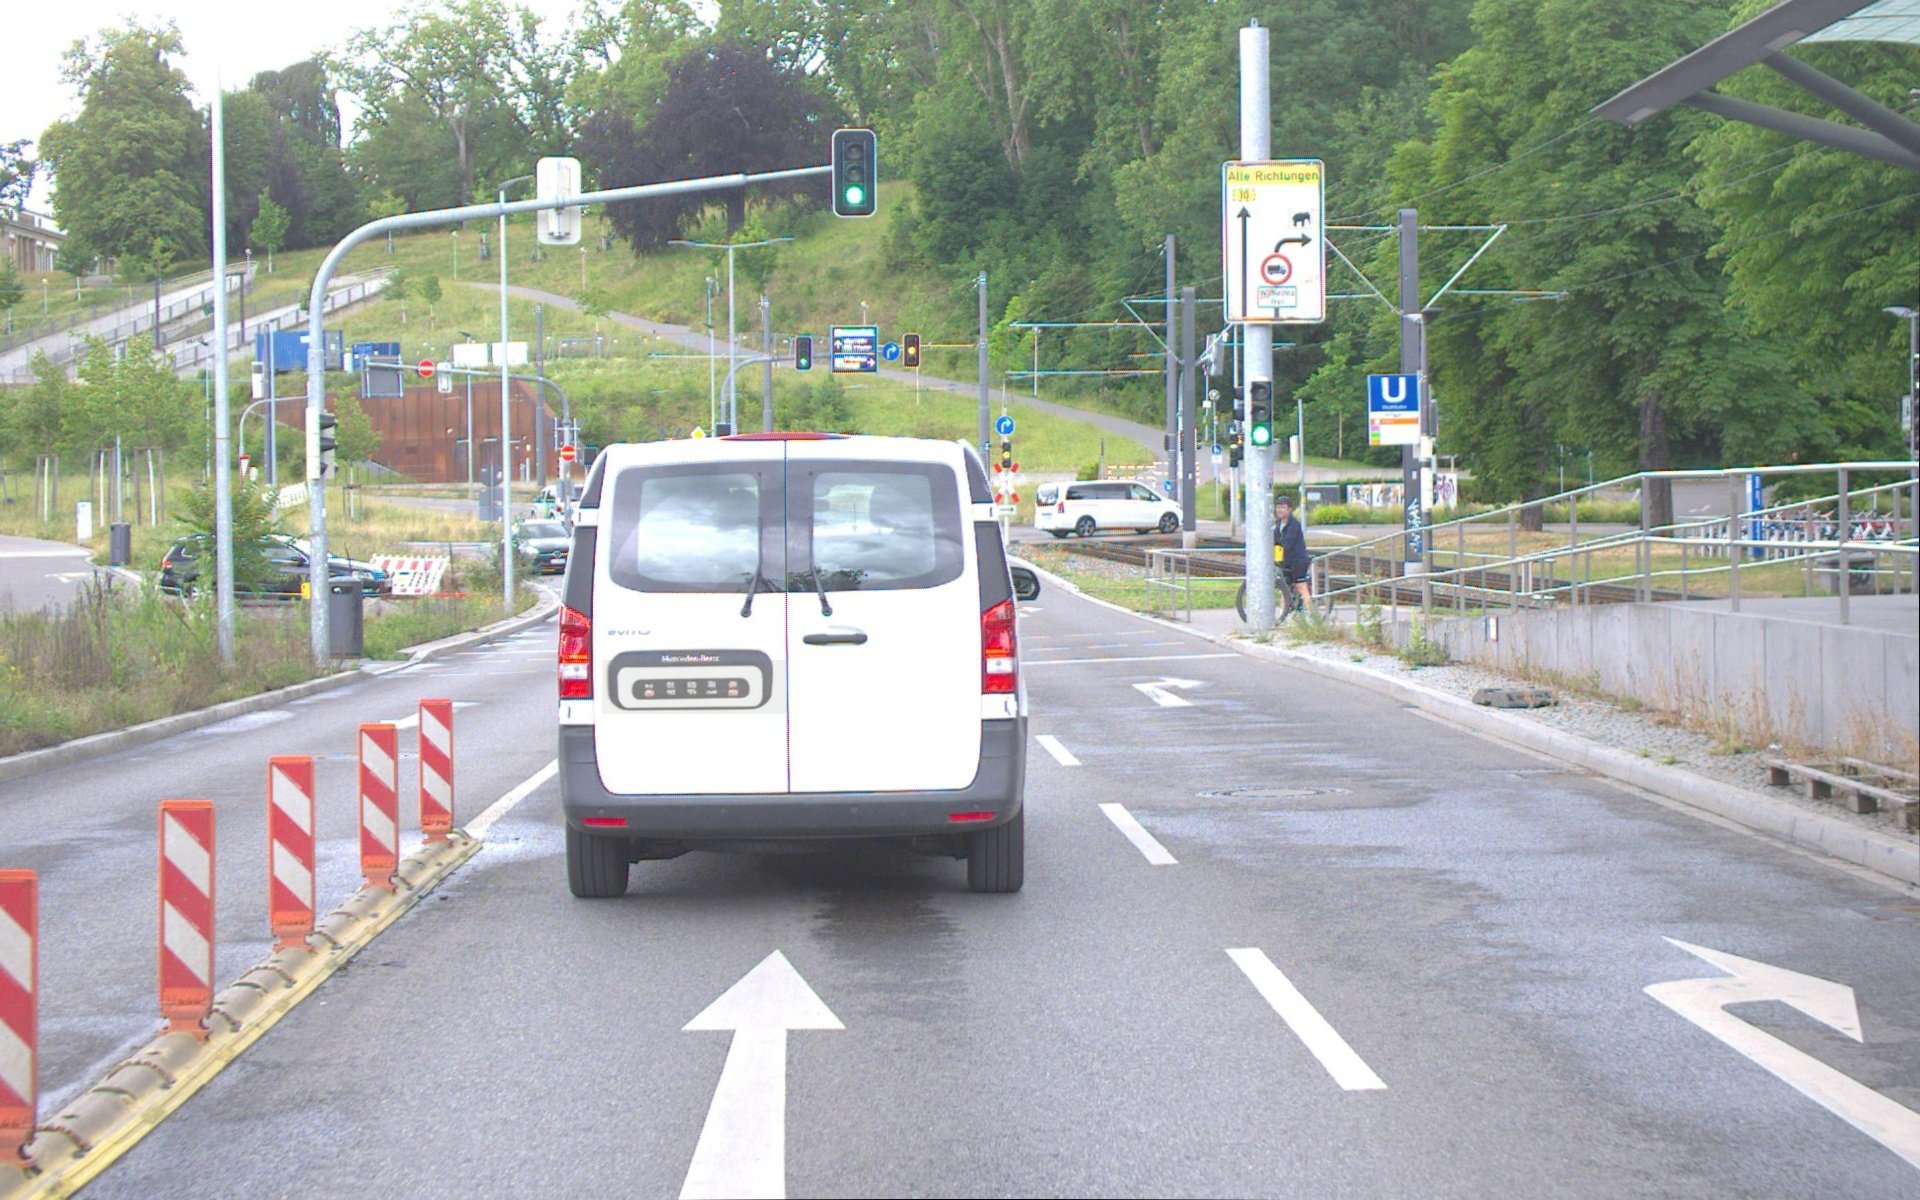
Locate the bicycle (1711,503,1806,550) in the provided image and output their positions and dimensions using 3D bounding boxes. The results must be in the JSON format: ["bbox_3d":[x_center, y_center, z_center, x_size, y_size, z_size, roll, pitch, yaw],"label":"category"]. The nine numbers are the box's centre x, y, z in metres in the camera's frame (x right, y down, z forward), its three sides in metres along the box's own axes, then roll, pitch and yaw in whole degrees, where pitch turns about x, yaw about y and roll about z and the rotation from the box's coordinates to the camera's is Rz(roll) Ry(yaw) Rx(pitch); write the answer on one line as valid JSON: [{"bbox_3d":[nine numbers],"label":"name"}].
[{"bbox_3d":[17.190,-1.581,74.027,1.912,0.972,0.531,-1,2,-1],"label":"bicycle"}]

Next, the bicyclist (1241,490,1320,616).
[{"bbox_3d":[4.080,-0.607,43.818,0.804,1.566,0.618,-3,4,-41],"label":"bicyclist"}]

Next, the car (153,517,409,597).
[{"bbox_3d":[-13.879,-0.883,70.416,4.711,1.472,2.000,-1,3,9],"label":"car"}]

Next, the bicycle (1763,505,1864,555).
[{"bbox_3d":[17.423,-1.424,70.199,1.912,0.972,0.531,-1,2,-1],"label":"bicycle"}]

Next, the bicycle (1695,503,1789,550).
[{"bbox_3d":[16.998,-1.590,74.750,1.912,0.972,0.531,-1,2,-1],"label":"bicycle"}]

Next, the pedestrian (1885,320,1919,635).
[{"bbox_3d":[5.106,-0.603,17.074,0.750,1.548,0.775,2,3,0],"label":"pedestrian"}]

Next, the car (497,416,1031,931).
[{"bbox_3d":[-0.695,0.221,15.146,1.959,1.897,4.461,1,1,1],"label":"car"}]

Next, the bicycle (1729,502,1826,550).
[{"bbox_3d":[17.407,-1.568,73.217,1.912,0.972,0.531,-1,2,-1],"label":"bicycle"}]

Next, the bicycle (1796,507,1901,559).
[{"bbox_3d":[17.545,-1.323,67.875,1.912,0.972,0.531,-1,2,-1],"label":"bicycle"}]

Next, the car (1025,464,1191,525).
[{"bbox_3d":[4.976,-3.533,115.356,5.133,2.007,2.208,0,2,-28],"label":"car"}]

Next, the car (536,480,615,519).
[{"bbox_3d":[-16.401,-4.285,146.509,1.937,1.621,4.001,-1,2,-29],"label":"car"}]

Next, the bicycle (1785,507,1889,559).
[{"bbox_3d":[17.475,-1.339,68.521,1.912,0.972,0.531,-1,2,-1],"label":"bicycle"}]

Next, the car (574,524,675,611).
[{"bbox_3d":[-6.126,-0.607,63.103,1.591,1.512,4.085,-1,1,-2],"label":"car"}]

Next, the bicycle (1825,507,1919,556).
[{"bbox_3d":[17.834,-1.331,66.767,1.912,0.892,0.531,-1,2,-1],"label":"bicycle"}]

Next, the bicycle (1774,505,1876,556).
[{"bbox_3d":[17.479,-1.411,69.460,1.912,0.972,0.531,-1,2,-1],"label":"bicycle"}]

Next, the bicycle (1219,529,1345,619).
[{"bbox_3d":[4.116,-0.345,43.858,1.679,1.070,0.620,-3,4,-41],"label":"bicycle"}]

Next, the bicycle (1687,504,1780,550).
[{"bbox_3d":[17.045,-1.609,75.732,1.912,0.972,0.531,-1,2,-1],"label":"bicycle"}]

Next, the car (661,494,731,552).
[{"bbox_3d":[-7.314,-2.123,95.437,1.730,1.523,4.445,-2,1,-2],"label":"car"}]
